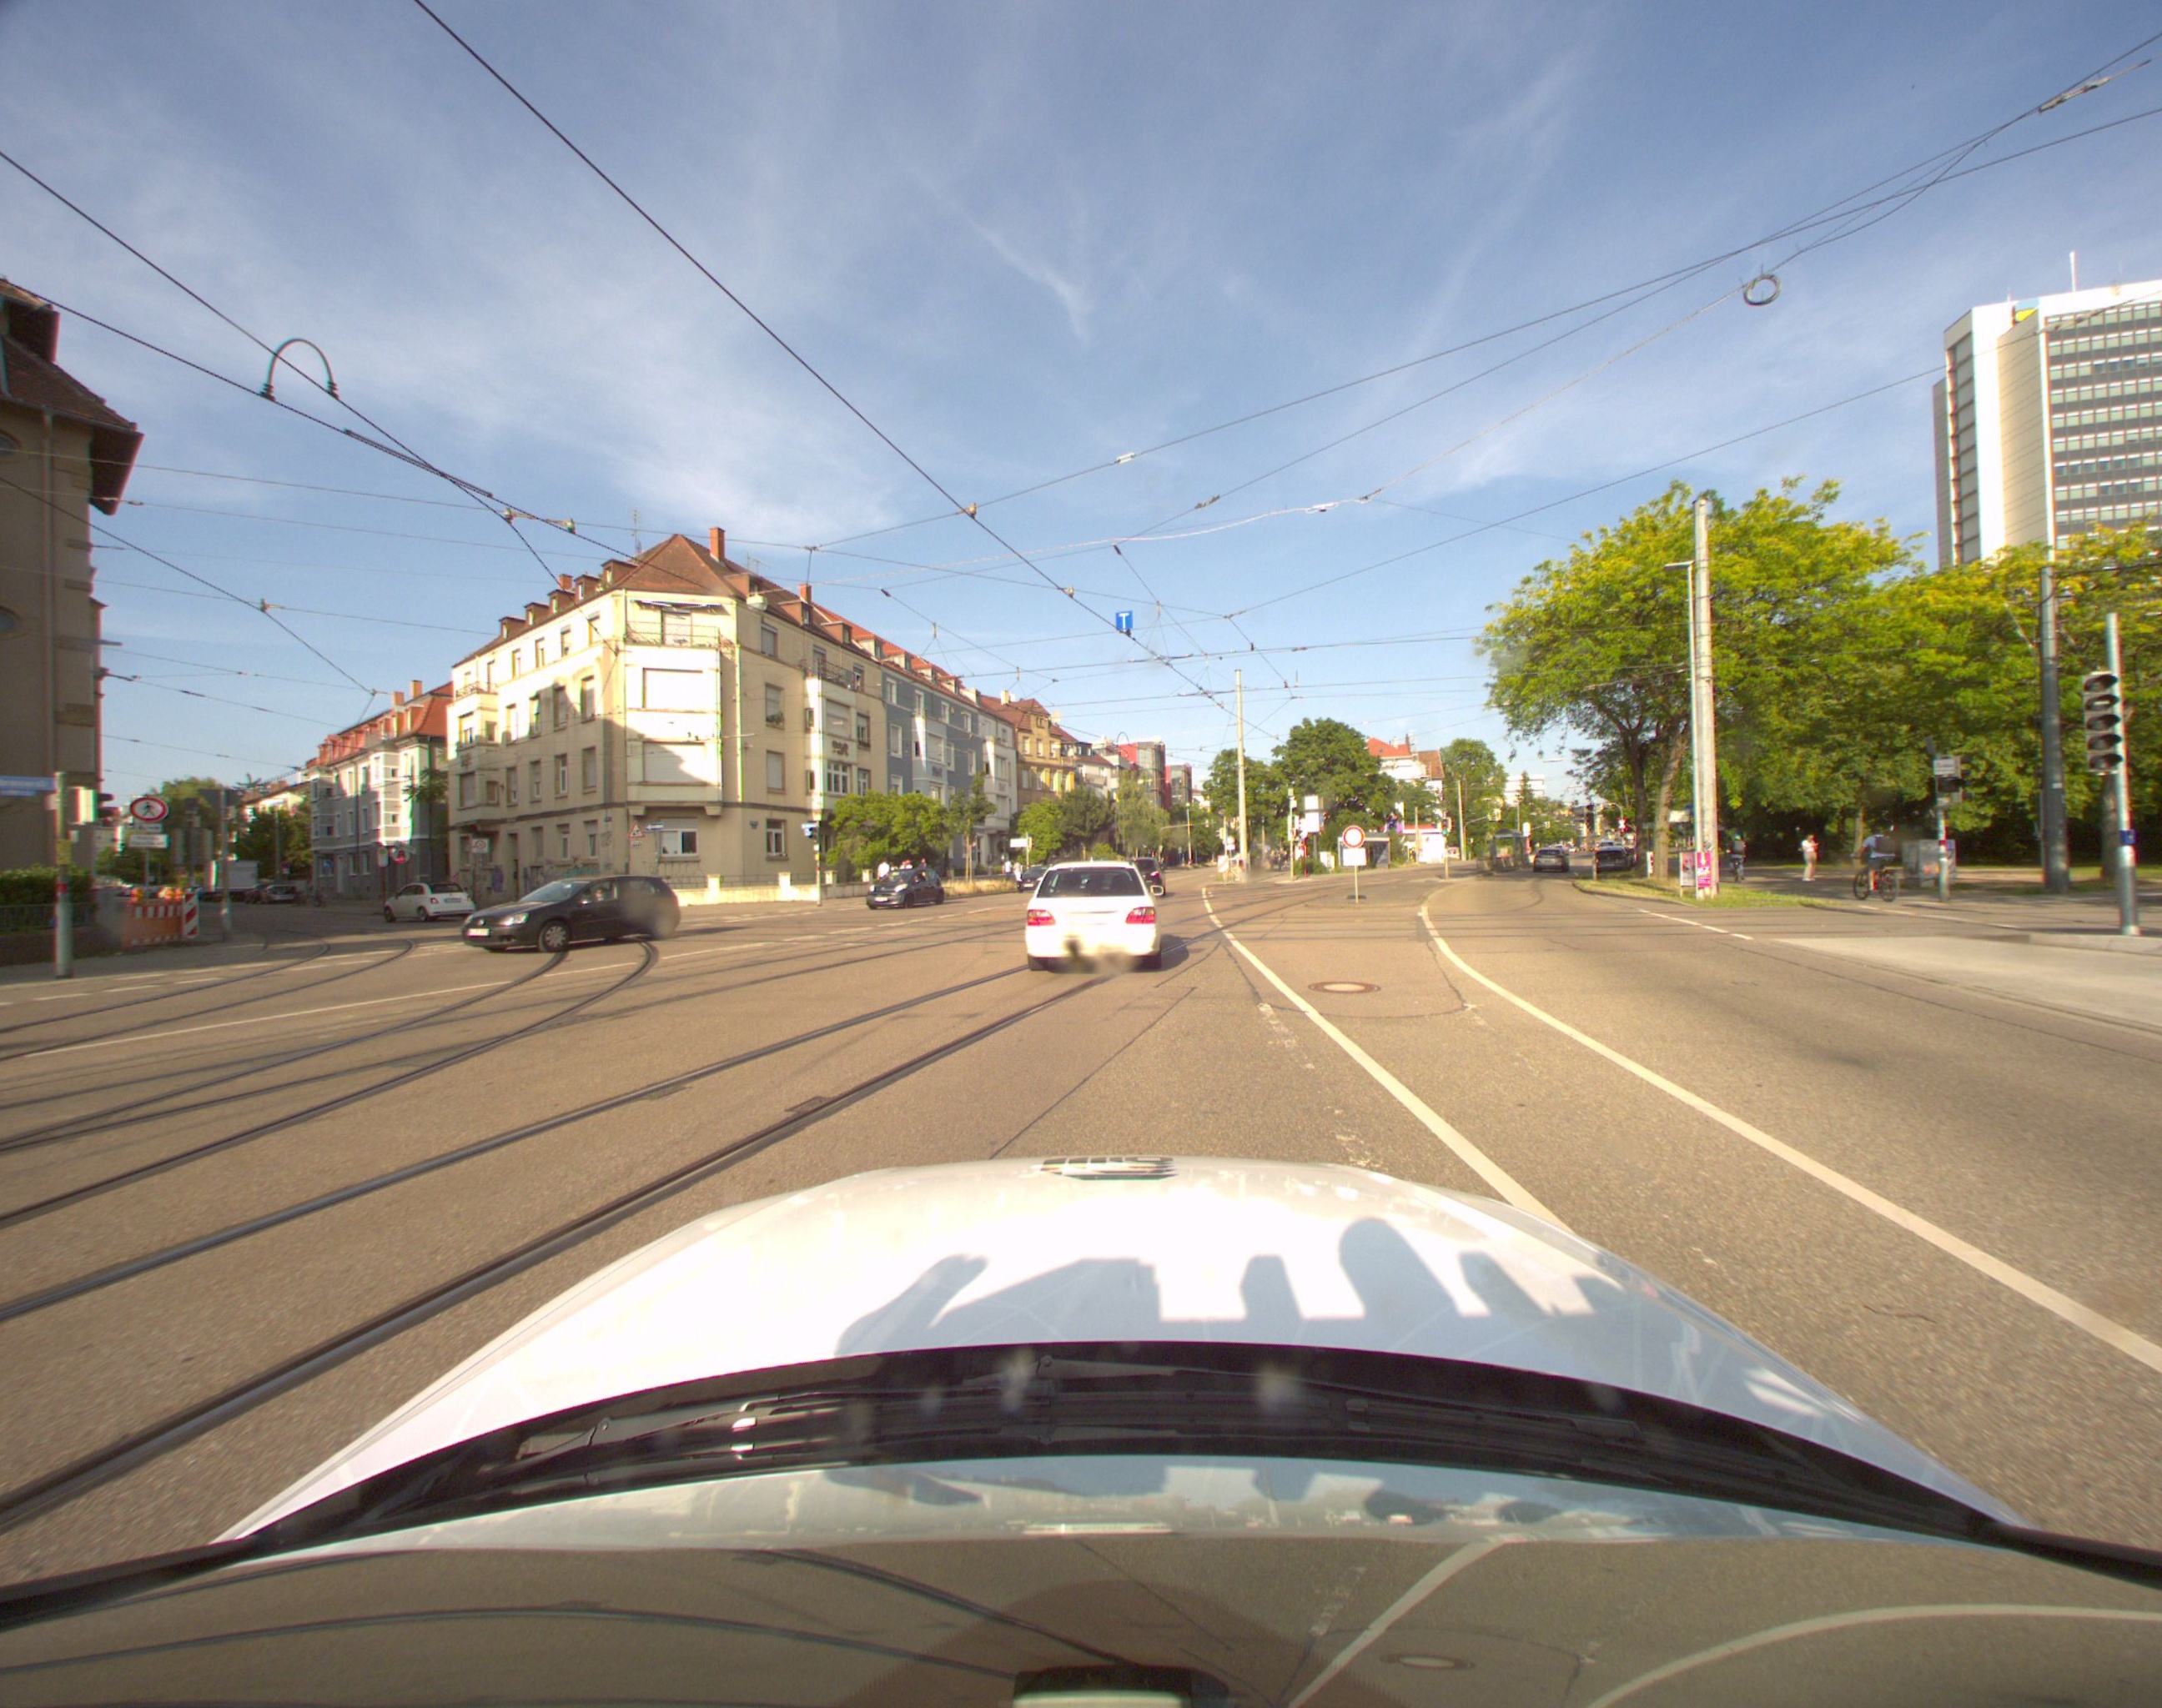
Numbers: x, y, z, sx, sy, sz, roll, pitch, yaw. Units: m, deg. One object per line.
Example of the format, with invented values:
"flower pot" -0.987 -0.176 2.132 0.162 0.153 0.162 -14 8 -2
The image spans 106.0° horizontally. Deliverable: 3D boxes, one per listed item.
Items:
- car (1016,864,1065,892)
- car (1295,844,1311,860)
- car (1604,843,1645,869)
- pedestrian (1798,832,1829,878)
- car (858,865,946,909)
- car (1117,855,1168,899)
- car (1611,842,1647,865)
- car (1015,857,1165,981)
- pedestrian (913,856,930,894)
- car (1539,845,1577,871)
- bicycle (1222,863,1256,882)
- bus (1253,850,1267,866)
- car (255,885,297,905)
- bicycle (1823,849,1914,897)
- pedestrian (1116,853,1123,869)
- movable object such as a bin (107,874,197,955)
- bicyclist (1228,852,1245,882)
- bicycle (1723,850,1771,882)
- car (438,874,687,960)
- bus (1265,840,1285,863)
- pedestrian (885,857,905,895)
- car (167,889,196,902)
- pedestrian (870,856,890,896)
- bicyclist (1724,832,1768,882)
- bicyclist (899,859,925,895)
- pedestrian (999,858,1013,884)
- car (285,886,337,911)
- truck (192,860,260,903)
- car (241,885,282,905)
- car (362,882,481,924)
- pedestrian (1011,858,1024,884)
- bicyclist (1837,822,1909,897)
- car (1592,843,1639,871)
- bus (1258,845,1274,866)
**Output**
"car" -2.180 1.282 44.922 1.677 1.420 4.014 -2 -1 13
"car" 26.807 -0.261 98.422 1.732 1.874 4.017 -1 -1 16
"car" 35.401 0.113 52.998 1.835 1.515 4.025 -4 -2 38
"pedestrian" 26.906 0.026 29.914 0.635 1.665 0.694 -2 -1 25
"car" -6.464 1.149 29.806 1.622 1.433 3.643 -2 0 15
"car" 2.434 0.835 31.614 1.632 1.600 3.825 0 0 9
"car" 40.995 -0.053 60.886 1.835 1.515 4.025 -4 -2 38
"car" 0.227 0.797 11.842 1.827 1.501 3.818 0 0 3
"pedestrian" -8.096 1.067 41.444 0.580 1.881 0.629 -2 -1 14
"car" 31.471 0.272 53.738 1.817 1.600 3.839 0 -1 36
"bicycle" 9.373 1.114 48.303 1.902 0.994 0.728 -3 -1 9
"bus" 25.894 0.590 117.759 1.786 2.333 4.011 1 -1 10
"car" -61.720 3.126 62.428 3.948 1.457 1.811 -2 -1 38
"bicycle" 19.413 0.445 20.126 0.636 1.088 1.947 -4 -1 13
"pedestrian" 4.218 0.798 89.645 0.634 1.751 0.610 -2 -1 12
"movable object such as a bin" -21.012 1.320 18.475 0.264 1.709 2.365 -1 -1 -21
"bicyclist" 9.197 0.754 48.332 0.894 1.699 0.734 -3 -1 9
"bicycle" 24.686 0.439 30.218 0.636 1.088 1.740 -4 -1 13
"car" -10.441 1.198 16.764 1.751 1.433 4.021 -2 0 21
"bus" 20.701 -0.242 87.029 1.786 2.413 4.011 1 -1 11
"pedestrian" -9.055 1.075 39.685 0.669 1.848 0.652 -2 -1 17
"car" -104.213 4.802 94.354 3.948 1.457 1.811 -2 -1 36
"pedestrian" -9.751 1.072 39.562 0.654 1.881 0.629 -2 -1 13
"bicyclist" 24.667 0.109 30.238 0.715 1.746 1.144 -5 -2 13
"bicyclist" -7.918 1.062 38.226 0.755 1.668 1.170 -2 -1 10
"pedestrian" -5.139 1.139 56.042 0.634 1.751 0.914 -2 -1 12
"car" -49.185 2.795 51.982 3.948 1.457 1.811 -2 -1 38
"truck" -79.602 2.557 75.743 9.795 3.728 3.278 -2 -1 37
"car" -65.748 3.260 65.312 3.948 1.457 1.811 -2 -1 37
"car" -25.060 1.863 30.953 3.952 1.457 1.810 -2 0 22
"pedestrian" -4.348 1.166 55.817 0.634 1.751 0.914 -2 -1 12
"bicyclist" 19.333 0.133 19.902 0.644 1.746 1.144 -5 -2 13
"car" 31.959 0.144 48.645 1.835 1.515 4.025 -4 -2 39
"bus" 23.264 0.157 102.401 1.786 2.555 4.012 1 -1 11
